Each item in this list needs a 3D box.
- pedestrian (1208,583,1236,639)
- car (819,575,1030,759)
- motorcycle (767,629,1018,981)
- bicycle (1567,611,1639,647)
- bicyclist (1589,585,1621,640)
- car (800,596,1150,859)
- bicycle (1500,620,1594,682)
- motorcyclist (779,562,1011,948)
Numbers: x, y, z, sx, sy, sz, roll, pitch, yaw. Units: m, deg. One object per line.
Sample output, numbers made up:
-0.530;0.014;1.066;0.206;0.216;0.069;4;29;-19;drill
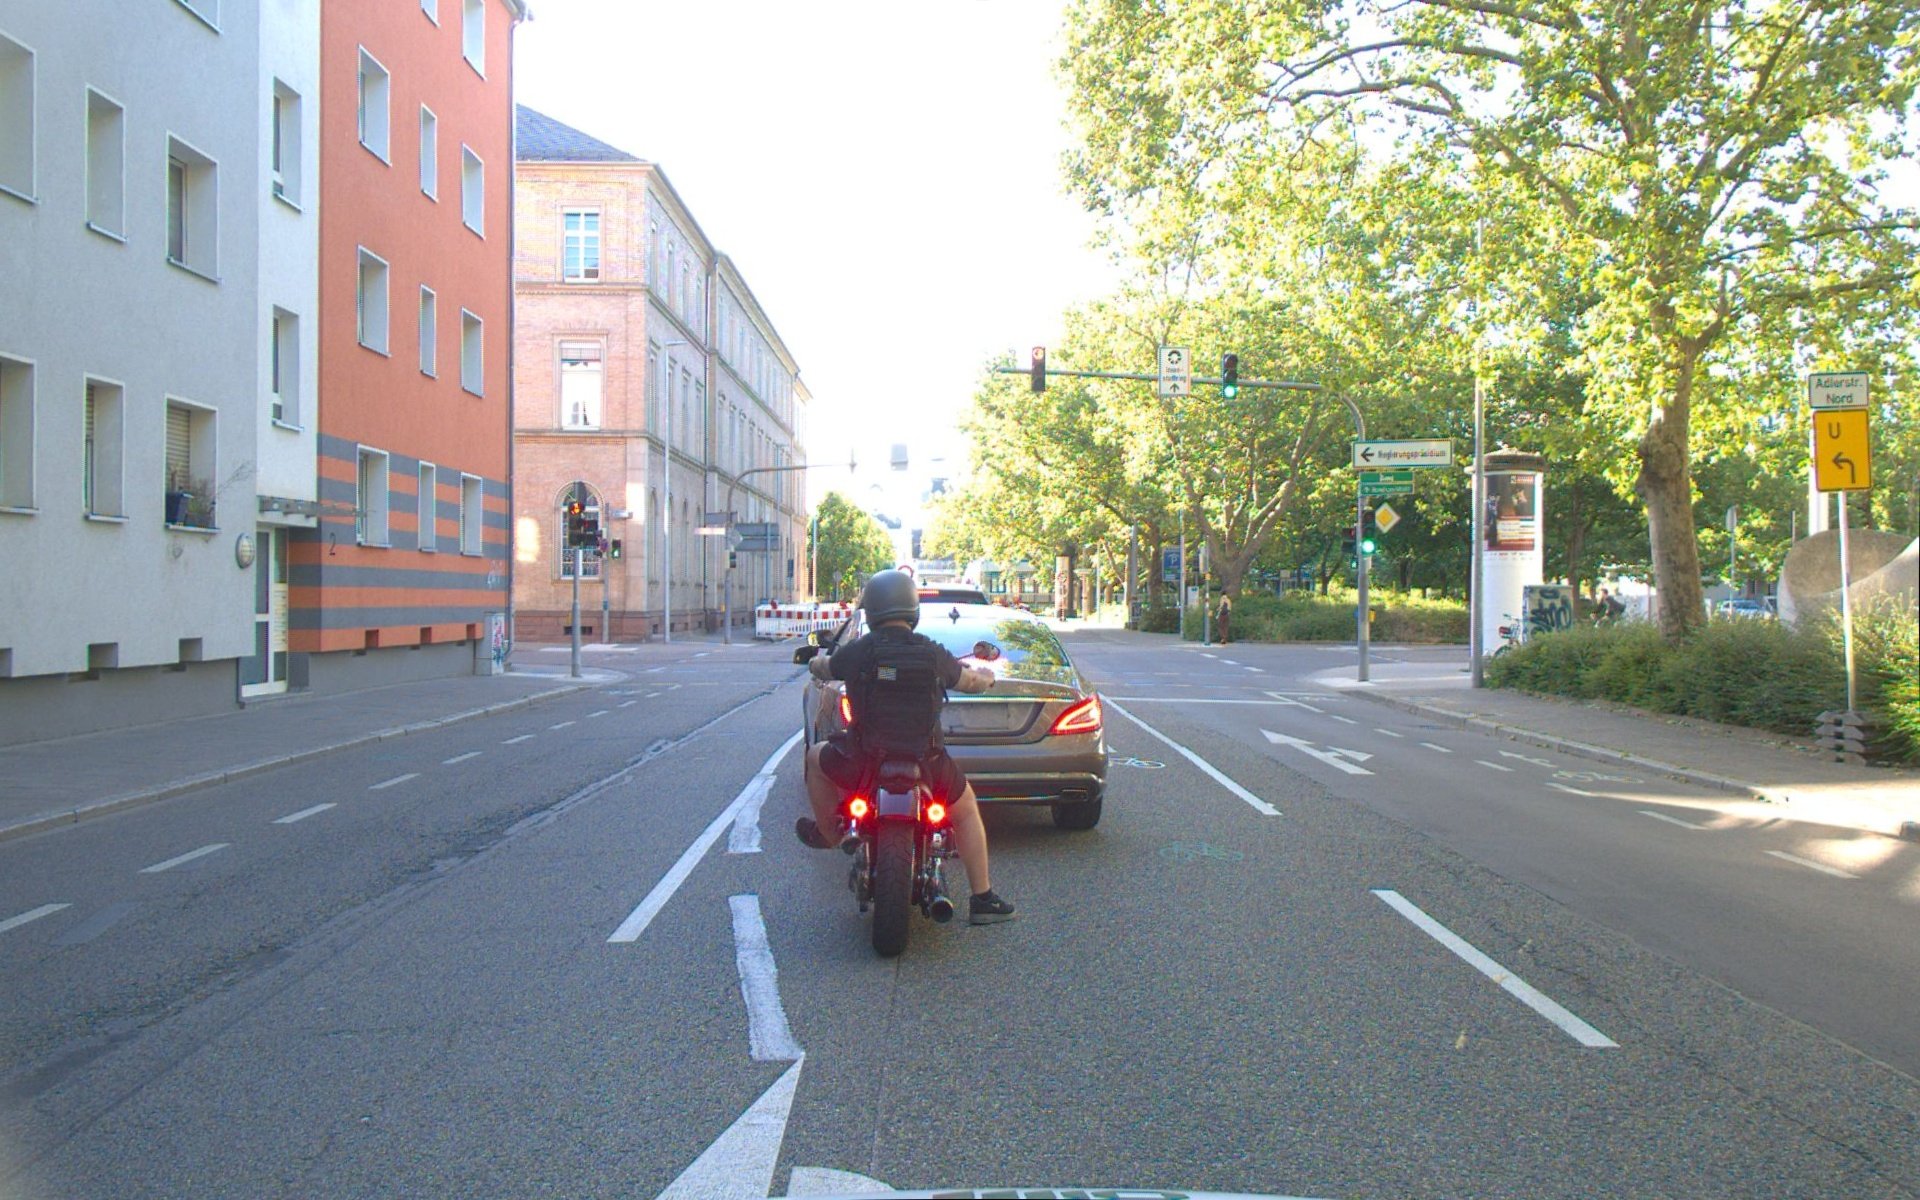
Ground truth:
8.588;0.359;54.275;0.668;1.803;0.613;0;-1;44;pedestrian
-0.360;0.636;17.545;1.953;1.695;3.999;1;0;-1;car
-0.275;0.809;7.563;0.961;1.297;2.407;0;0;-1;motorcycle
18.938;0.850;48.761;1.877;0.997;0.602;1;0;5;bicycle
19.006;0.369;48.758;0.715;1.610;0.597;1;-1;5;bicyclist
-0.111;0.712;11.625;1.834;1.469;4.422;0;0;-8;car
9.790;0.841;27.601;1.452;0.997;0.299;1;-1;5;bicycle
-0.278;0.642;7.508;0.961;1.606;1.248;0;0;-1;motorcyclist
